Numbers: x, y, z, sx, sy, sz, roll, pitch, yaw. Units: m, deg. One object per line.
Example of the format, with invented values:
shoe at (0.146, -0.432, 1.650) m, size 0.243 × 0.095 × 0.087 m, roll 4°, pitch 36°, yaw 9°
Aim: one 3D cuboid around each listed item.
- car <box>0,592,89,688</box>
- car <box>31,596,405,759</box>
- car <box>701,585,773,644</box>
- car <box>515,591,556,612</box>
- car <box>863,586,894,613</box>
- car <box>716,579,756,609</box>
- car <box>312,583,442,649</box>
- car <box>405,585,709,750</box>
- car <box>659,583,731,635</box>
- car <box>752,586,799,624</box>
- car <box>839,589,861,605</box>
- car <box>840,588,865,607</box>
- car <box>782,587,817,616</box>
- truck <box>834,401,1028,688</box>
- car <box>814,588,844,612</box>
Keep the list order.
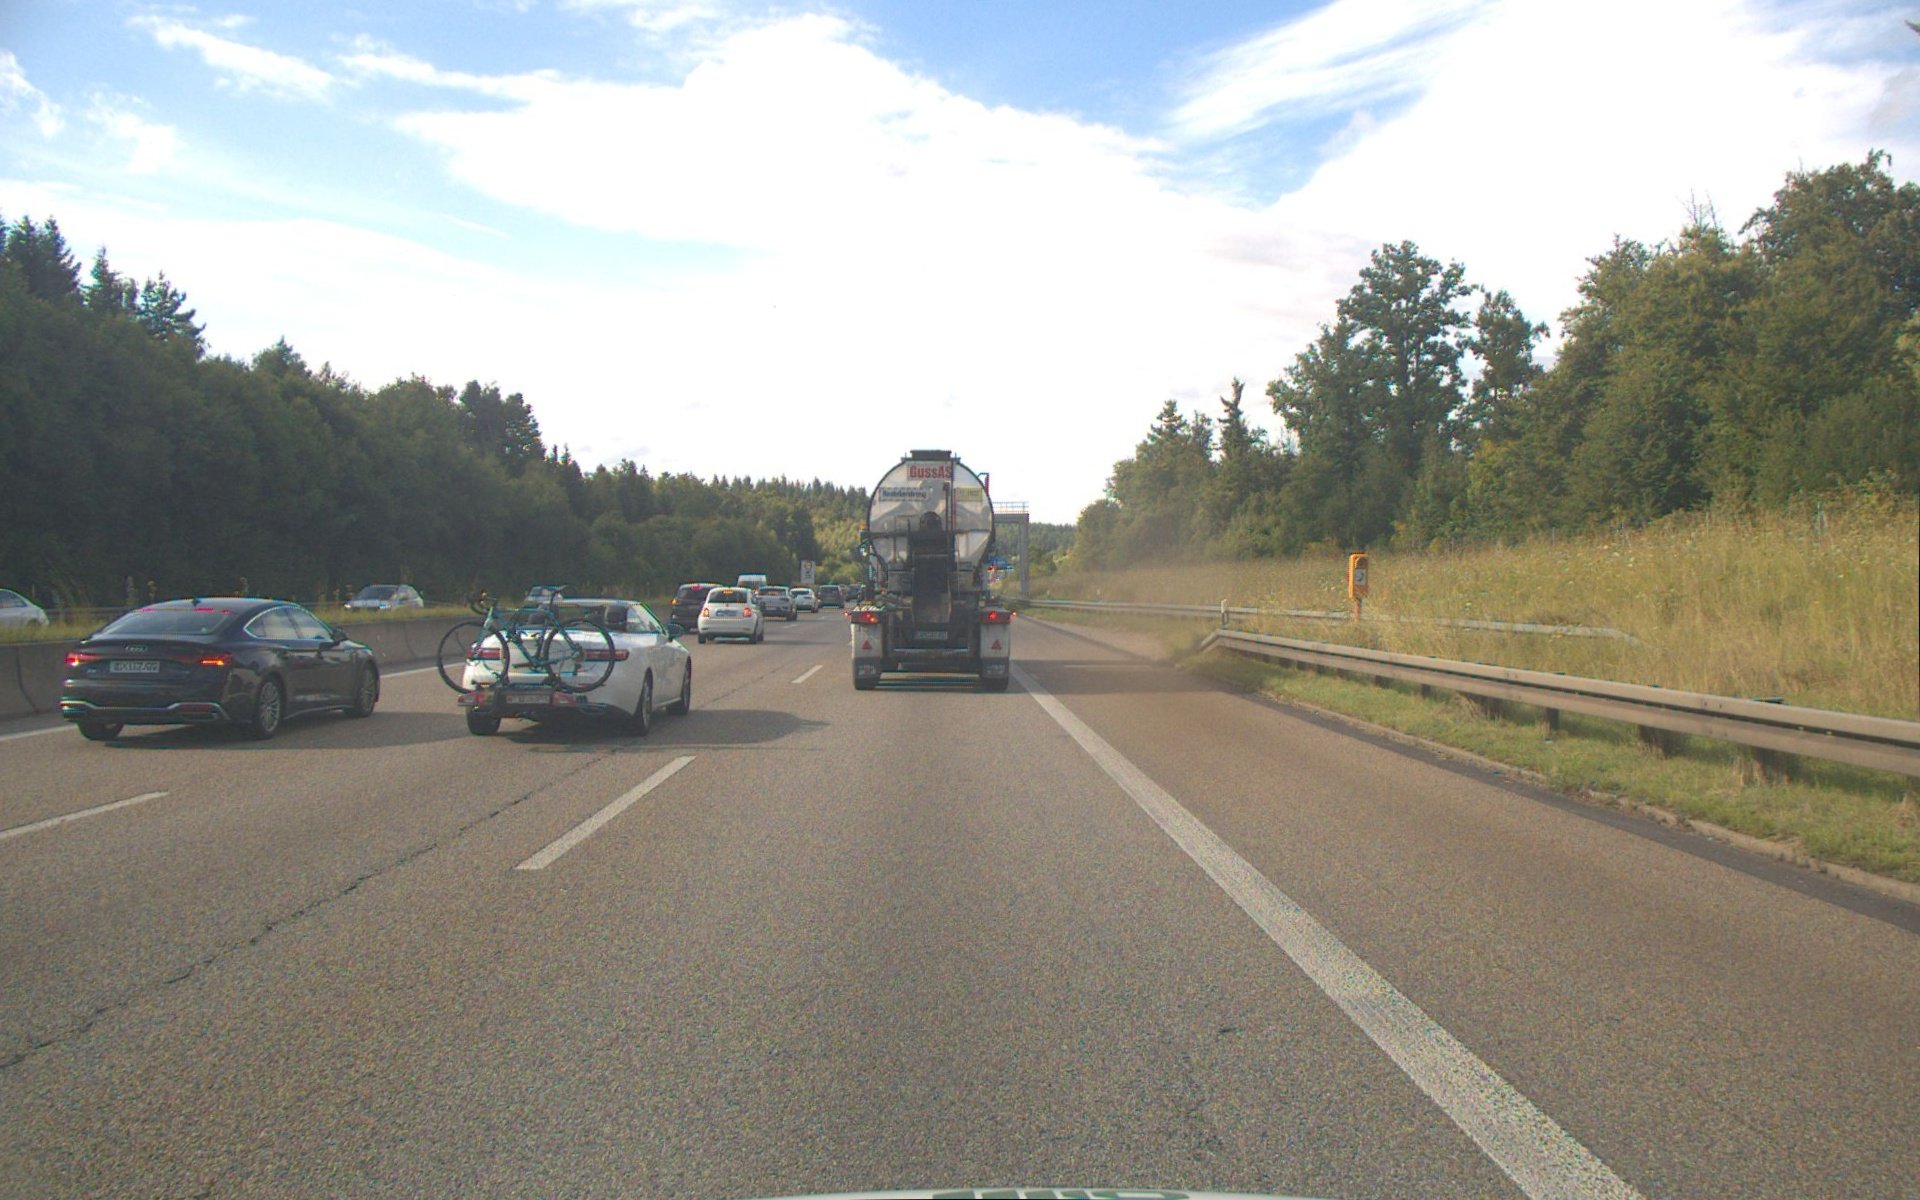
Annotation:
car at (-23.241, 0.905, 38.800) m, size 2.526 × 2.176 × 5.965 m, roll 0°, pitch 0°, yaw -1°
car at (-7.547, 0.697, 17.434) m, size 1.818 × 1.456 × 4.840 m, roll 0°, pitch 0°, yaw -1°
car at (-6.179, 0.384, 46.016) m, size 1.585 × 1.571 × 3.519 m, roll 1°, pitch 0°, yaw -1°
car at (-24.036, 0.077, 93.658) m, size 1.559 × 1.113 × 3.172 m, roll 0°, pitch 0°, yaw -1°
car at (-5.433, -0.048, 110.506) m, size 1.903 × 1.683 × 4.206 m, roll 1°, pitch 1°, yaw -1°
car at (-18.397, -0.517, 136.191) m, size 2.526 × 2.387 × 5.828 m, roll 0°, pitch 0°, yaw -1°
car at (-20.363, 0.512, 58.097) m, size 2.526 × 2.176 × 5.965 m, roll 0°, pitch 0°, yaw -1°
car at (-4.167, 0.604, 18.194) m, size 2.018 × 1.525 × 5.735 m, roll 0°, pitch 0°, yaw -1°
car at (-8.741, 0.265, 54.790) m, size 1.770 × 1.613 × 4.206 m, roll 1°, pitch 1°, yaw -1°
car at (-8.373, 0.207, 75.421) m, size 1.770 × 1.613 × 4.206 m, roll 1°, pitch 1°, yaw -1°
car at (-10.614, -0.273, 159.834) m, size 1.903 × 1.482 × 4.206 m, roll 1°, pitch 1°, yaw -1°
car at (-9.015, -0.192, 138.450) m, size 1.903 × 1.482 × 4.206 m, roll 1°, pitch 1°, yaw -1°
car at (-9.505, 0.062, 98.336) m, size 1.770 × 1.613 × 4.206 m, roll 1°, pitch 1°, yaw -1°
truck at (-0.487, -0.864, 30.003) m, size 2.853 × 4.230 × 11.268 m, roll 0°, pitch 0°, yaw -1°
car at (-9.262, 0.008, 117.217) m, size 1.903 × 1.613 × 4.206 m, roll 1°, pitch 1°, yaw -1°
